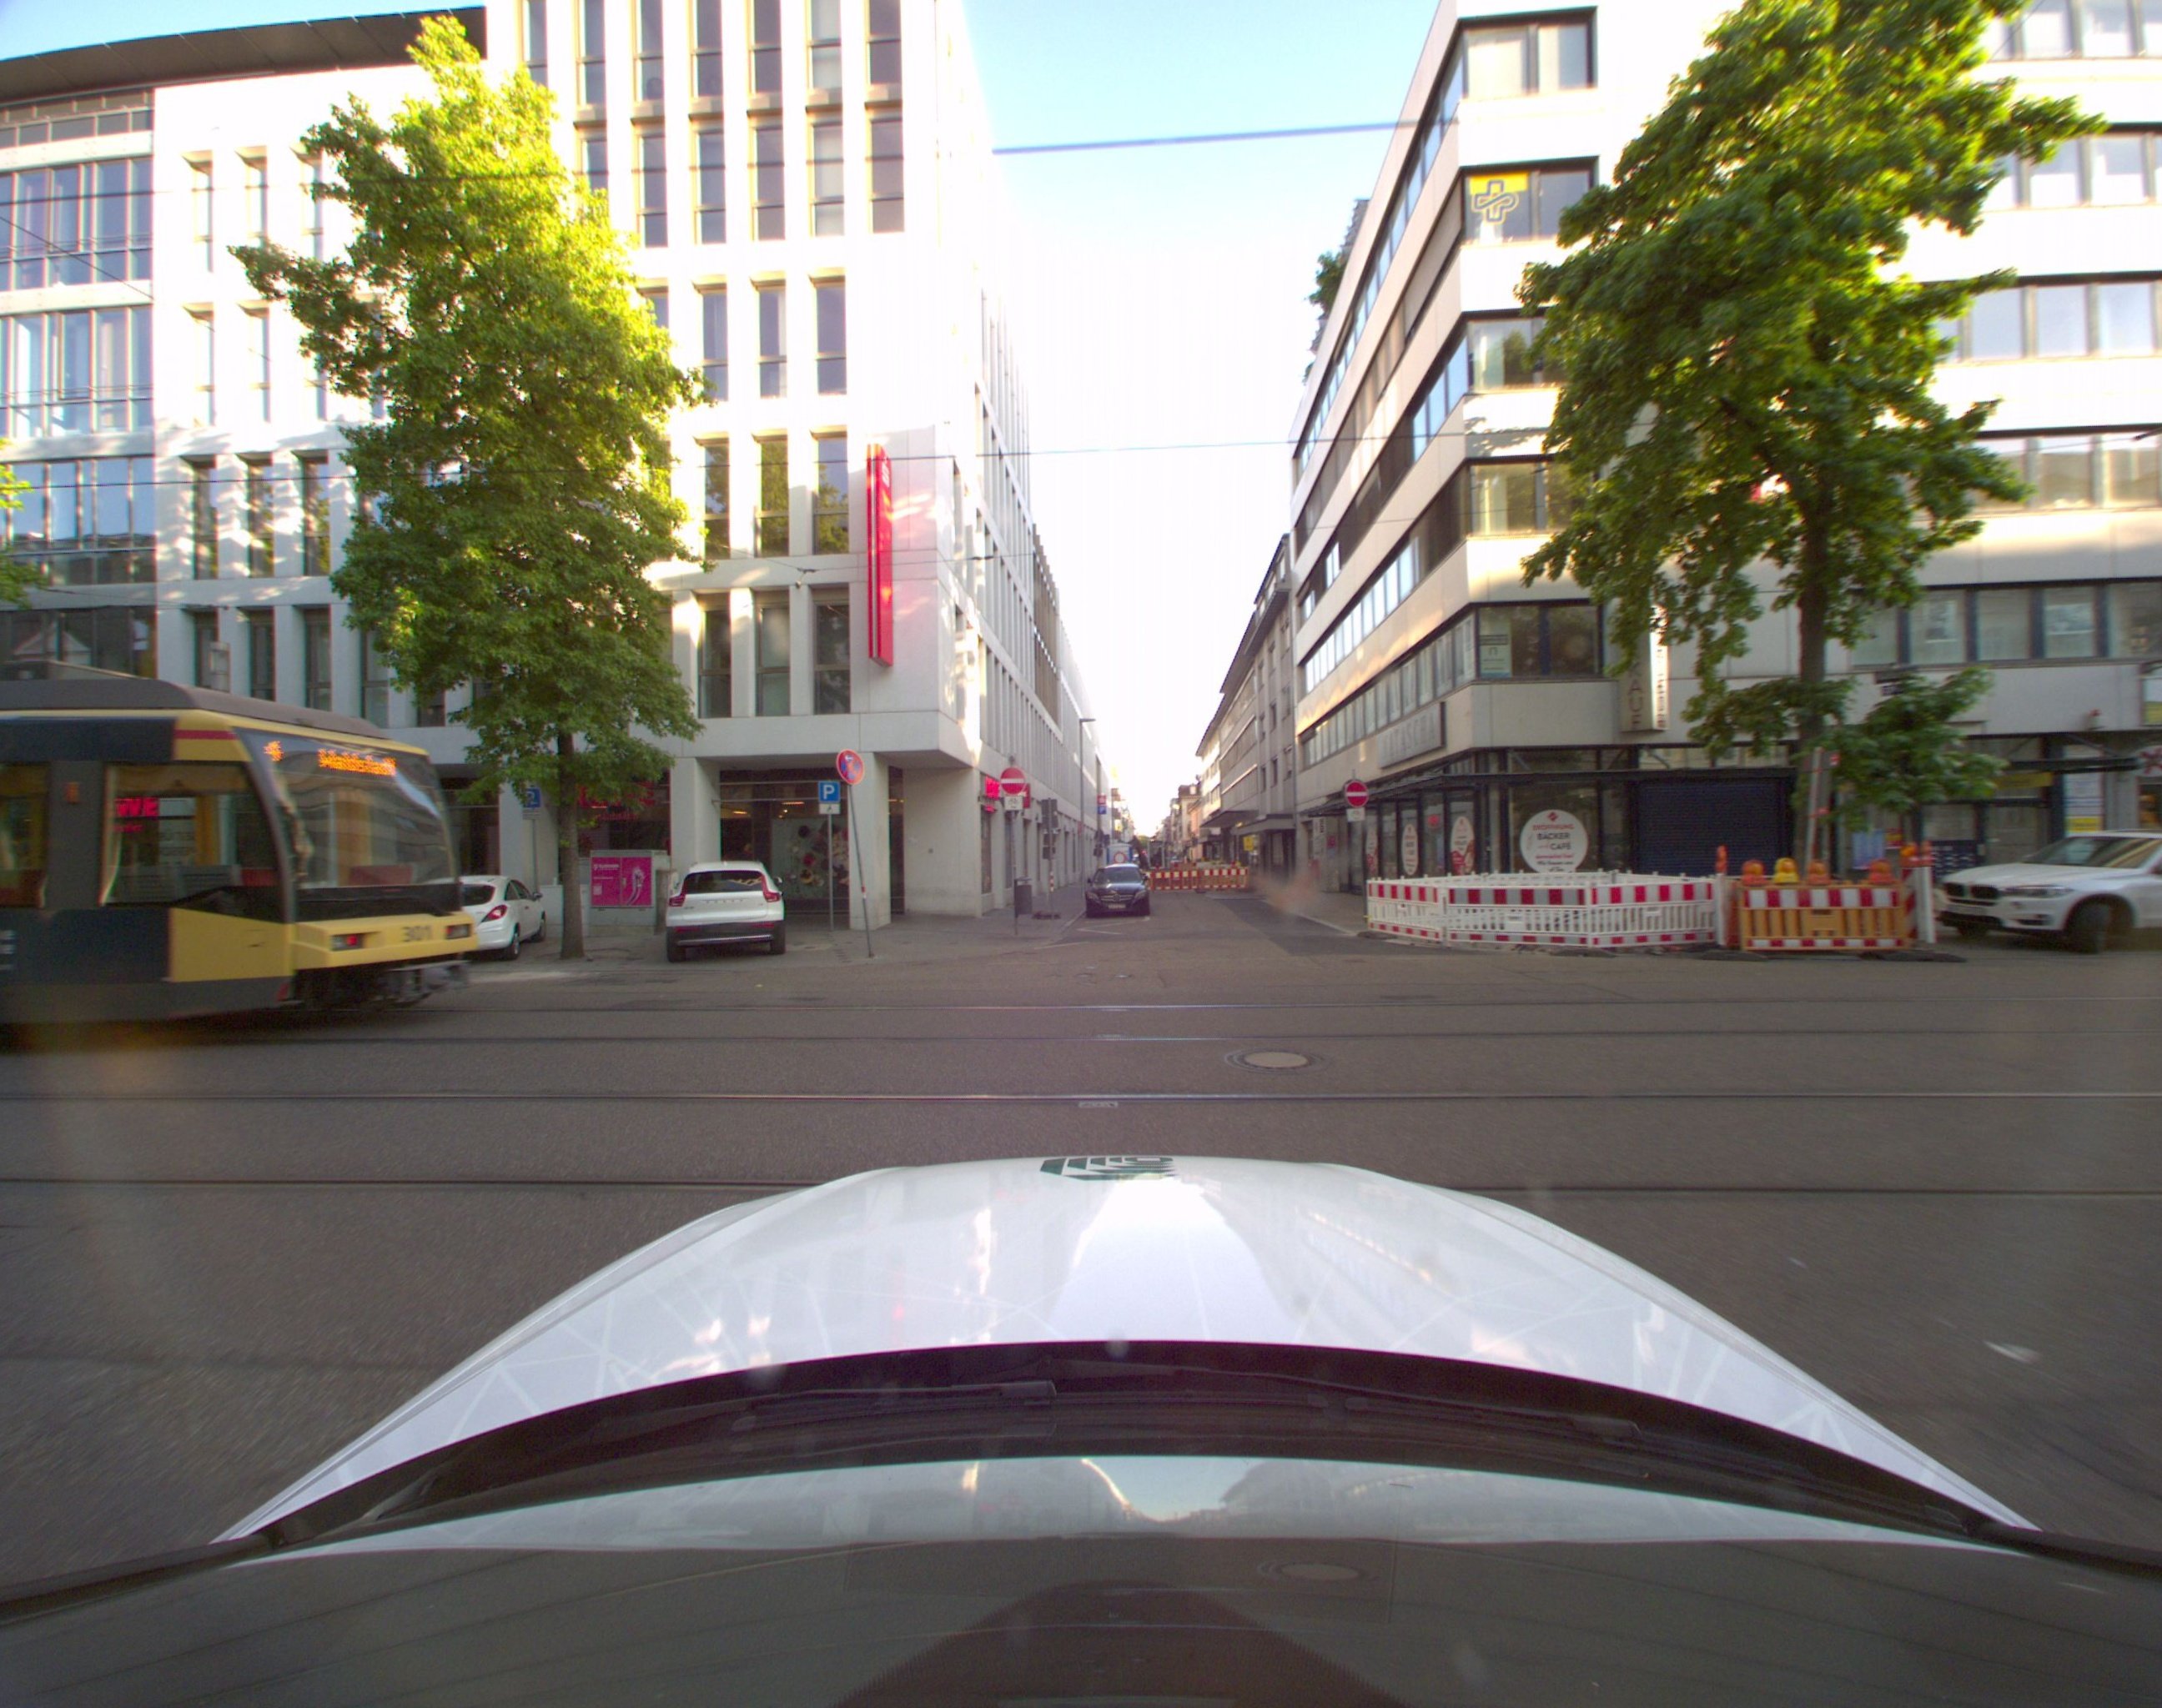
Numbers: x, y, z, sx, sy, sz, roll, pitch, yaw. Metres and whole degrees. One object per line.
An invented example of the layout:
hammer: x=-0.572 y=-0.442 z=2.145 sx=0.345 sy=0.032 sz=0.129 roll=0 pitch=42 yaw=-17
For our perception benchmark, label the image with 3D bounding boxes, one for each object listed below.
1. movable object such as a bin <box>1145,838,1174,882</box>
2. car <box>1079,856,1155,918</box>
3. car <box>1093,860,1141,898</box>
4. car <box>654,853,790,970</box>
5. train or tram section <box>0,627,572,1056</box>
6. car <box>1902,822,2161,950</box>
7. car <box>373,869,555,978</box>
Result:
movable object such as a bin: x=4.581 y=0.374 z=47.508 sx=1.427 sy=2.493 sz=1.764 roll=-1 pitch=-1 yaw=13
car: x=1.159 y=0.911 z=24.126 sx=1.888 sy=1.612 sz=4.159 roll=-2 pitch=-1 yaw=6
car: x=1.614 y=1.030 z=35.158 sx=1.764 sy=1.475 sz=4.159 roll=-2 pitch=-1 yaw=6
car: x=-6.530 y=0.906 z=15.227 sx=1.953 sy=1.671 sz=4.244 roll=-3 pitch=2 yaw=-20
train or tram section: x=-11.398 y=0.029 z=8.583 sx=10.290 sy=3.524 sz=3.029 roll=-2 pitch=-1 yaw=3
car: x=15.950 y=0.426 z=12.424 sx=4.631 sy=1.771 sz=2.004 roll=-1 pitch=2 yaw=5
car: x=-11.212 y=1.138 z=15.134 sx=1.799 sy=1.501 sz=4.035 roll=-3 pitch=2 yaw=-25
